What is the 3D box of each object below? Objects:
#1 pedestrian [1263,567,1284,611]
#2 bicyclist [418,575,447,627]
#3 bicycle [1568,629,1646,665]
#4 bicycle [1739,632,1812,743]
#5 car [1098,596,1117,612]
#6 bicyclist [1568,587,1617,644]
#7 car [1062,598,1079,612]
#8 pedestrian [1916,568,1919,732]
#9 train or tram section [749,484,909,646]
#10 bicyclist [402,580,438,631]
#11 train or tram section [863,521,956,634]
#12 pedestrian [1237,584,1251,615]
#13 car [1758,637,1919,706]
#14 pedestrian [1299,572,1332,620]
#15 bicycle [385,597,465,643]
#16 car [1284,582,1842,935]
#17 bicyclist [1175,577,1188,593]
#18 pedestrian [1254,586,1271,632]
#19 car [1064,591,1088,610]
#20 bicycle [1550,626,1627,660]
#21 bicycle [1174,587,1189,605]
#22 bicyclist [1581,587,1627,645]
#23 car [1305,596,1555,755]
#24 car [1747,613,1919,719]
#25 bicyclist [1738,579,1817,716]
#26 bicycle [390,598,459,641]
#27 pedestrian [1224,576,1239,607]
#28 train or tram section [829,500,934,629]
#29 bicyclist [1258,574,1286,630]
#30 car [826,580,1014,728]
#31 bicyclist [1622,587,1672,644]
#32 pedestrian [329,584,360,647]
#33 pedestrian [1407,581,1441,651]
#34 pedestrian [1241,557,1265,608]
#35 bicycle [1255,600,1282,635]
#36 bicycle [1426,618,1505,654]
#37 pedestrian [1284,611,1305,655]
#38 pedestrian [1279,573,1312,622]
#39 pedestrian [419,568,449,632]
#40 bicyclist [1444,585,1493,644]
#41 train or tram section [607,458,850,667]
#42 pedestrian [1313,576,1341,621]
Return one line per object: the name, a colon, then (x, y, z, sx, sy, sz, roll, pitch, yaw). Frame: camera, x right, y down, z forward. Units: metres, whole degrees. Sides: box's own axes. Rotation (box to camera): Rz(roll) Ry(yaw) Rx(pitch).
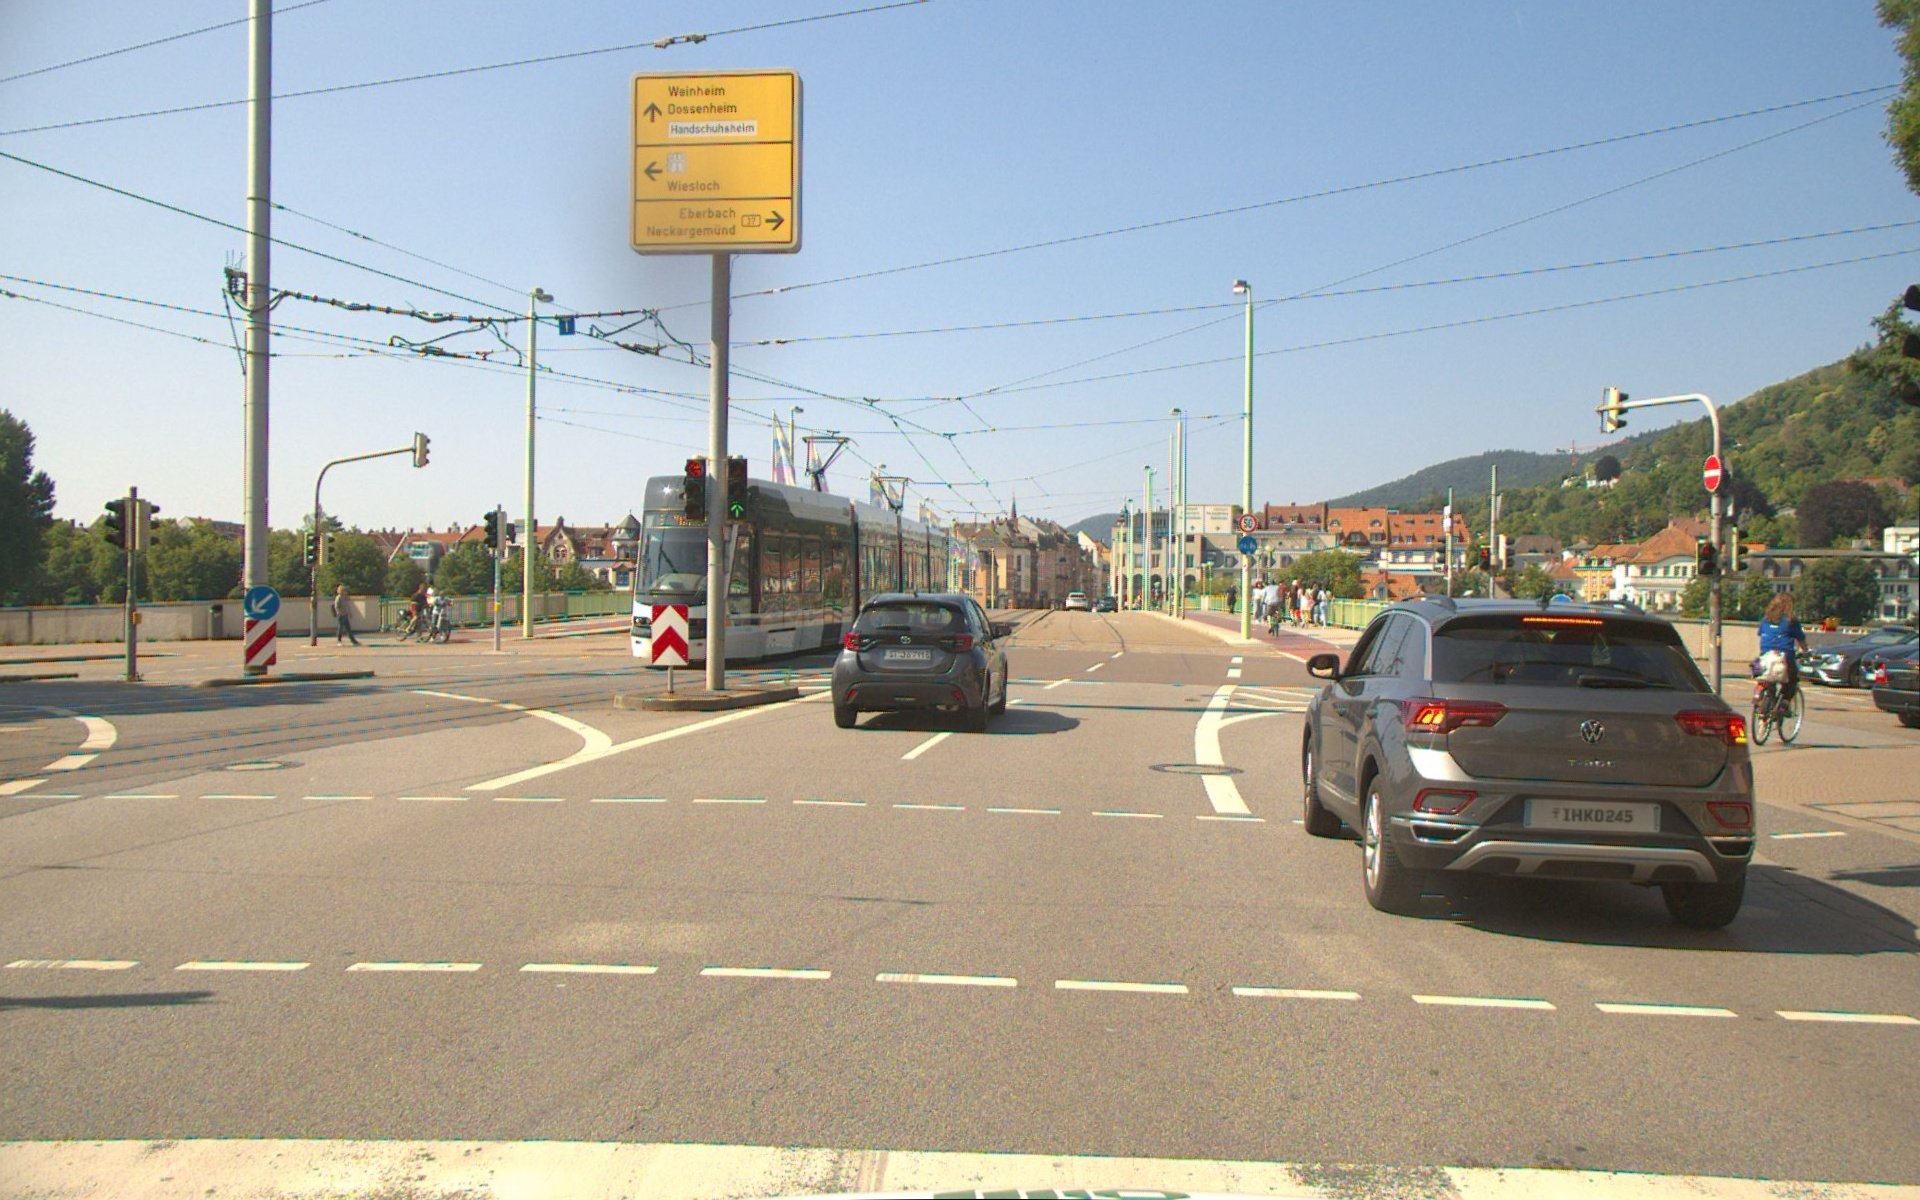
pedestrian: (12.601, -0.424, 66.579, 0.681, 1.746, 0.731, 1, 0, -2)
bicyclist: (-15.721, 0.022, 49.319, 0.811, 1.519, 0.872, 0, 0, -18)
bicycle: (17.454, 1.258, 44.639, 1.902, 0.868, 0.564, 2, 1, 28)
bicycle: (9.676, 0.998, 19.592, 0.603, 1.185, 2.245, 1, 0, 31)
car: (14.454, 0.406, 162.051, 1.765, 1.494, 4.003, -1, -1, 6)
bicyclist: (17.444, 0.419, 45.656, 1.057, 1.499, 0.929, 2, 1, 10)
car: (13.996, 0.685, 209.612, 1.952, 1.747, 4.001, 1, 0, 2)
pedestrian: (12.321, 0.625, 20.112, 0.759, 2.049, 1.059, 0, 0, -1)
train or tram section: (-3.266, -0.909, 43.988, 2.483, 3.843, 9.177, 0, 1, 7)
bicyclist: (-15.796, 0.152, 48.377, 0.987, 1.474, 0.812, -1, 0, -18)
train or tram section: (-1.735, -0.870, 62.226, 2.418, 3.843, 11.856, 0, 1, 3)
pedestrian: (14.390, -0.029, 83.786, 0.636, 1.590, 0.692, -1, 1, 5)
car: (20.902, 1.612, 37.955, 4.386, 1.420, 1.845, 0, 0, -7)
pedestrian: (13.441, -0.145, 62.590, 0.965, 1.800, 1.254, 0, 0, -2)
bicycle: (-15.658, 0.574, 48.426, 2.202, 1.301, 0.736, -1, 0, -18)
car: (3.035, 0.678, 9.268, 1.889, 1.542, 3.995, 0, 0, 4)
bicyclist: (15.102, -1.024, 112.870, 0.653, 1.063, 0.980, -3, 0, -2)
pedestrian: (12.045, 0.368, 65.922, 0.538, 1.830, 0.645, 1, 0, -2)
car: (9.352, 0.045, 133.500, 1.766, 1.494, 4.000, -1, -1, 1)
bicycle: (17.359, 1.194, 45.703, 1.897, 0.841, 0.566, 2, 1, 8)
bicycle: (15.134, -0.283, 112.938, 0.681, 1.214, 2.079, 0, -1, -1)
bicyclist: (17.388, 0.429, 44.647, 1.059, 1.499, 0.761, 2, 1, 27)
car: (5.275, 0.765, 19.147, 1.951, 1.516, 4.287, 2, 1, 5)
car: (14.618, 1.011, 27.075, 1.966, 1.461, 3.973, 2, 2, 44)
bicyclist: (9.772, 0.544, 19.755, 0.760, 1.580, 1.057, 1, 1, 31)
bicycle: (-15.931, 0.570, 49.252, 1.938, 1.230, 0.636, -1, 0, -18)
pedestrian: (16.134, -0.505, 98.340, 0.641, 1.774, 0.978, 1, 1, -3)
train or tram section: (-2.378, -1.119, 53.190, 2.353, 3.745, 9.624, 0, 1, 3)
bicyclist: (9.944, 0.067, 52.761, 0.659, 1.774, 1.150, 0, 0, -1)
car: (-0.370, 0.556, 19.677, 1.870, 1.567, 4.002, 0, 1, 4)
bicyclist: (18.649, 0.414, 44.913, 1.057, 1.499, 0.929, 2, 1, 12)
pedestrian: (-17.385, 0.429, 46.731, 0.822, 1.726, 1.091, 0, 0, -20)
pedestrian: (12.744, 0.438, 45.431, 0.757, 1.888, 0.645, 1, 1, 7)
pedestrian: (12.035, -0.715, 68.048, 0.787, 2.049, 0.954, 1, 0, -2)
bicycle: (10.075, 0.551, 54.037, 0.775, 1.115, 3.748, 0, 0, 9)
bicycle: (13.280, 0.938, 43.479, 1.897, 0.841, 0.566, 2, 1, 8)
pedestrian: (12.755, 1.253, 63.077, 0.641, 1.678, 0.868, 1, 0, -1)
pedestrian: (12.332, -0.104, 60.812, 0.965, 1.781, 0.929, 1, 0, -2)
pedestrian: (-16.911, -0.009, 53.157, 0.884, 2.049, 0.830, 0, 0, -18)
bicyclist: (13.374, 0.372, 43.528, 1.057, 1.499, 0.801, 2, 1, 8)
train or tram section: (-4.584, -0.757, 35.046, 2.483, 3.843, 9.178, 0, 1, 9)
pedestrian: (13.439, -0.057, 60.603, 0.783, 1.663, 0.949, 0, 0, -2)
